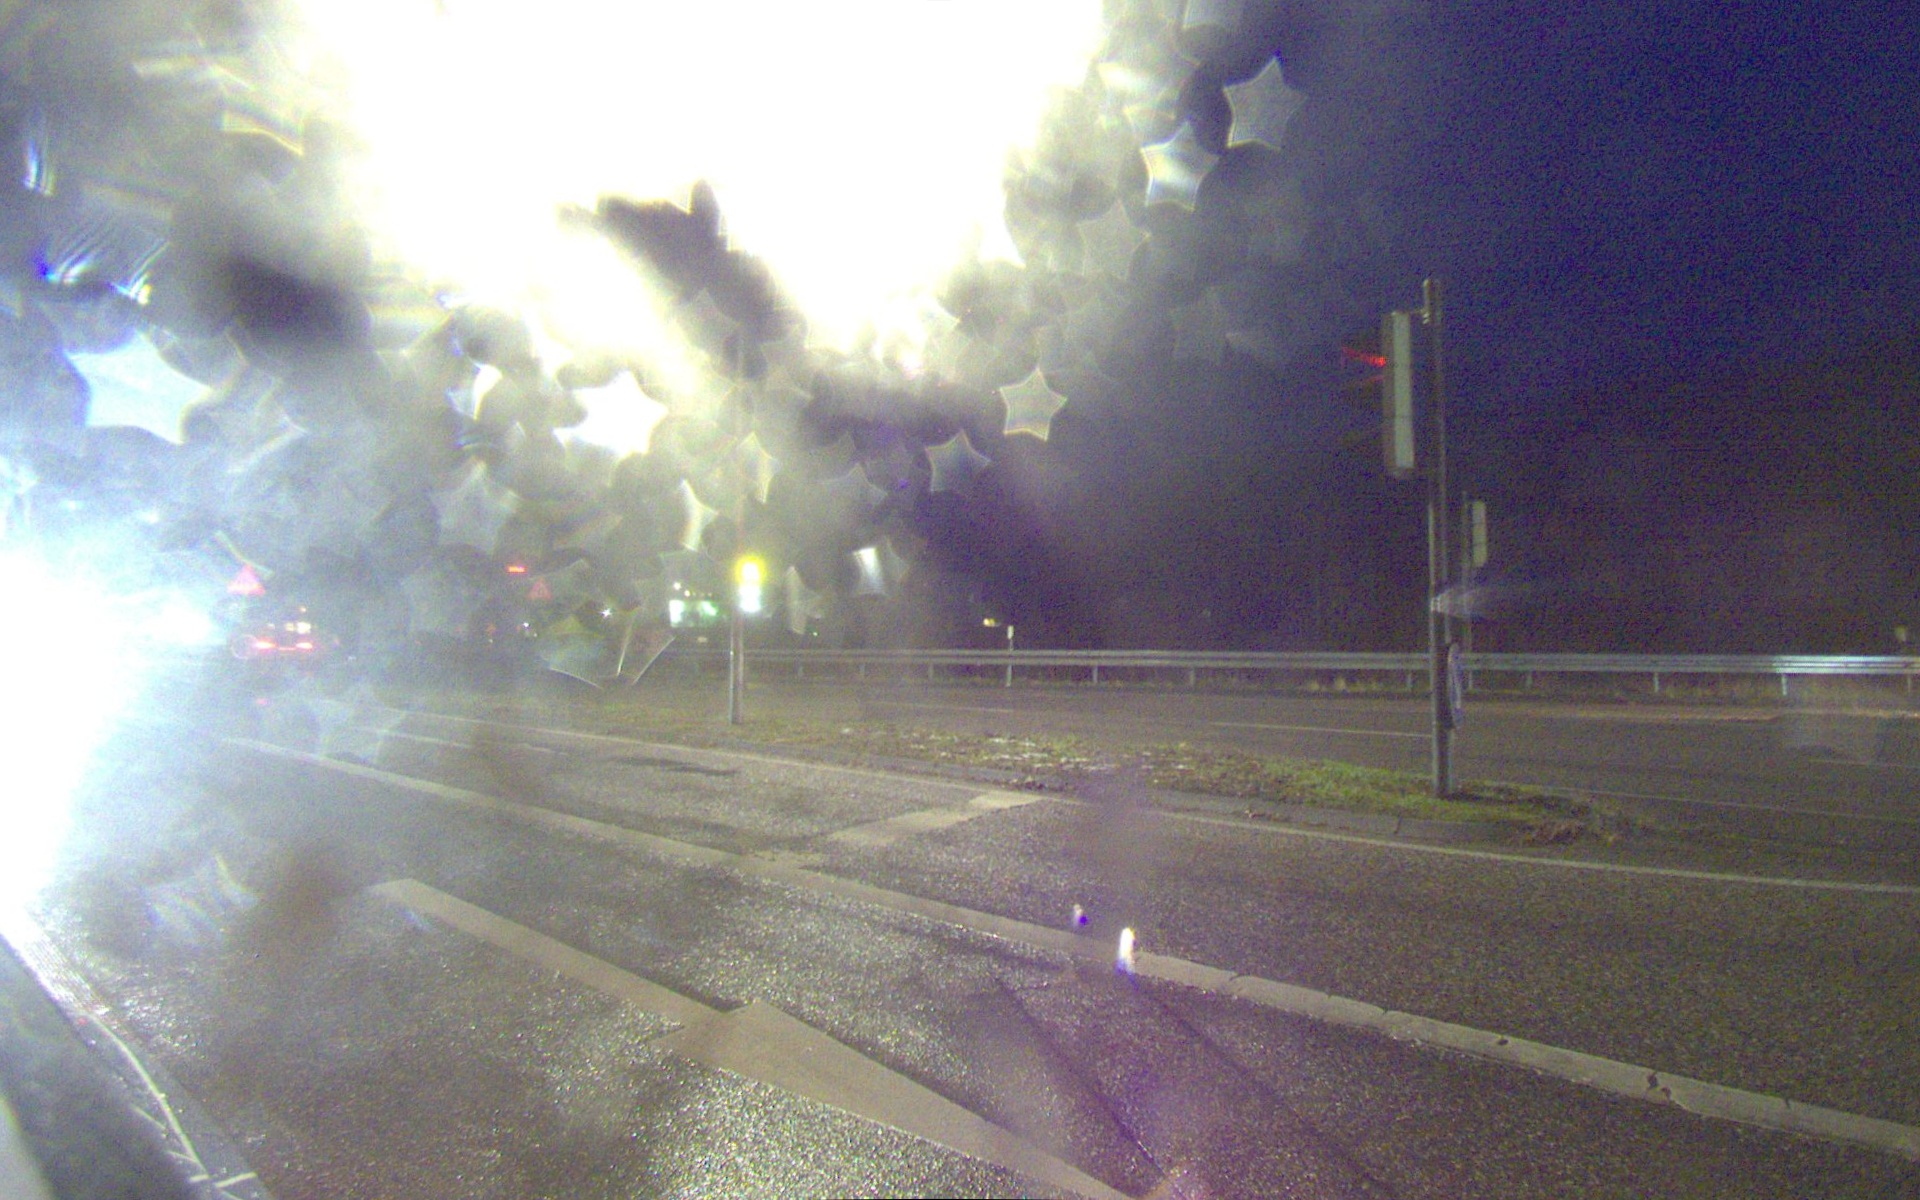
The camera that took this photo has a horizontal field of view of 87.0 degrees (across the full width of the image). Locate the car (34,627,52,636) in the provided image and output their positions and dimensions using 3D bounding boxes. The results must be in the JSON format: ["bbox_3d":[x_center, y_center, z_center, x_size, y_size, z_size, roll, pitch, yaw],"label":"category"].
[{"bbox_3d":[-158.152,5.496,174.554,1.779,1.435,4.215,0,0,-36],"label":"car"}]

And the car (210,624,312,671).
[{"bbox_3d":[-25.836,1.708,37.346,4.886,1.515,1.729,0,0,38],"label":"car"}]

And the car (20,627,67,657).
[{"bbox_3d":[-57.364,2.588,63.321,4.506,1.665,1.689,0,0,42],"label":"car"}]
